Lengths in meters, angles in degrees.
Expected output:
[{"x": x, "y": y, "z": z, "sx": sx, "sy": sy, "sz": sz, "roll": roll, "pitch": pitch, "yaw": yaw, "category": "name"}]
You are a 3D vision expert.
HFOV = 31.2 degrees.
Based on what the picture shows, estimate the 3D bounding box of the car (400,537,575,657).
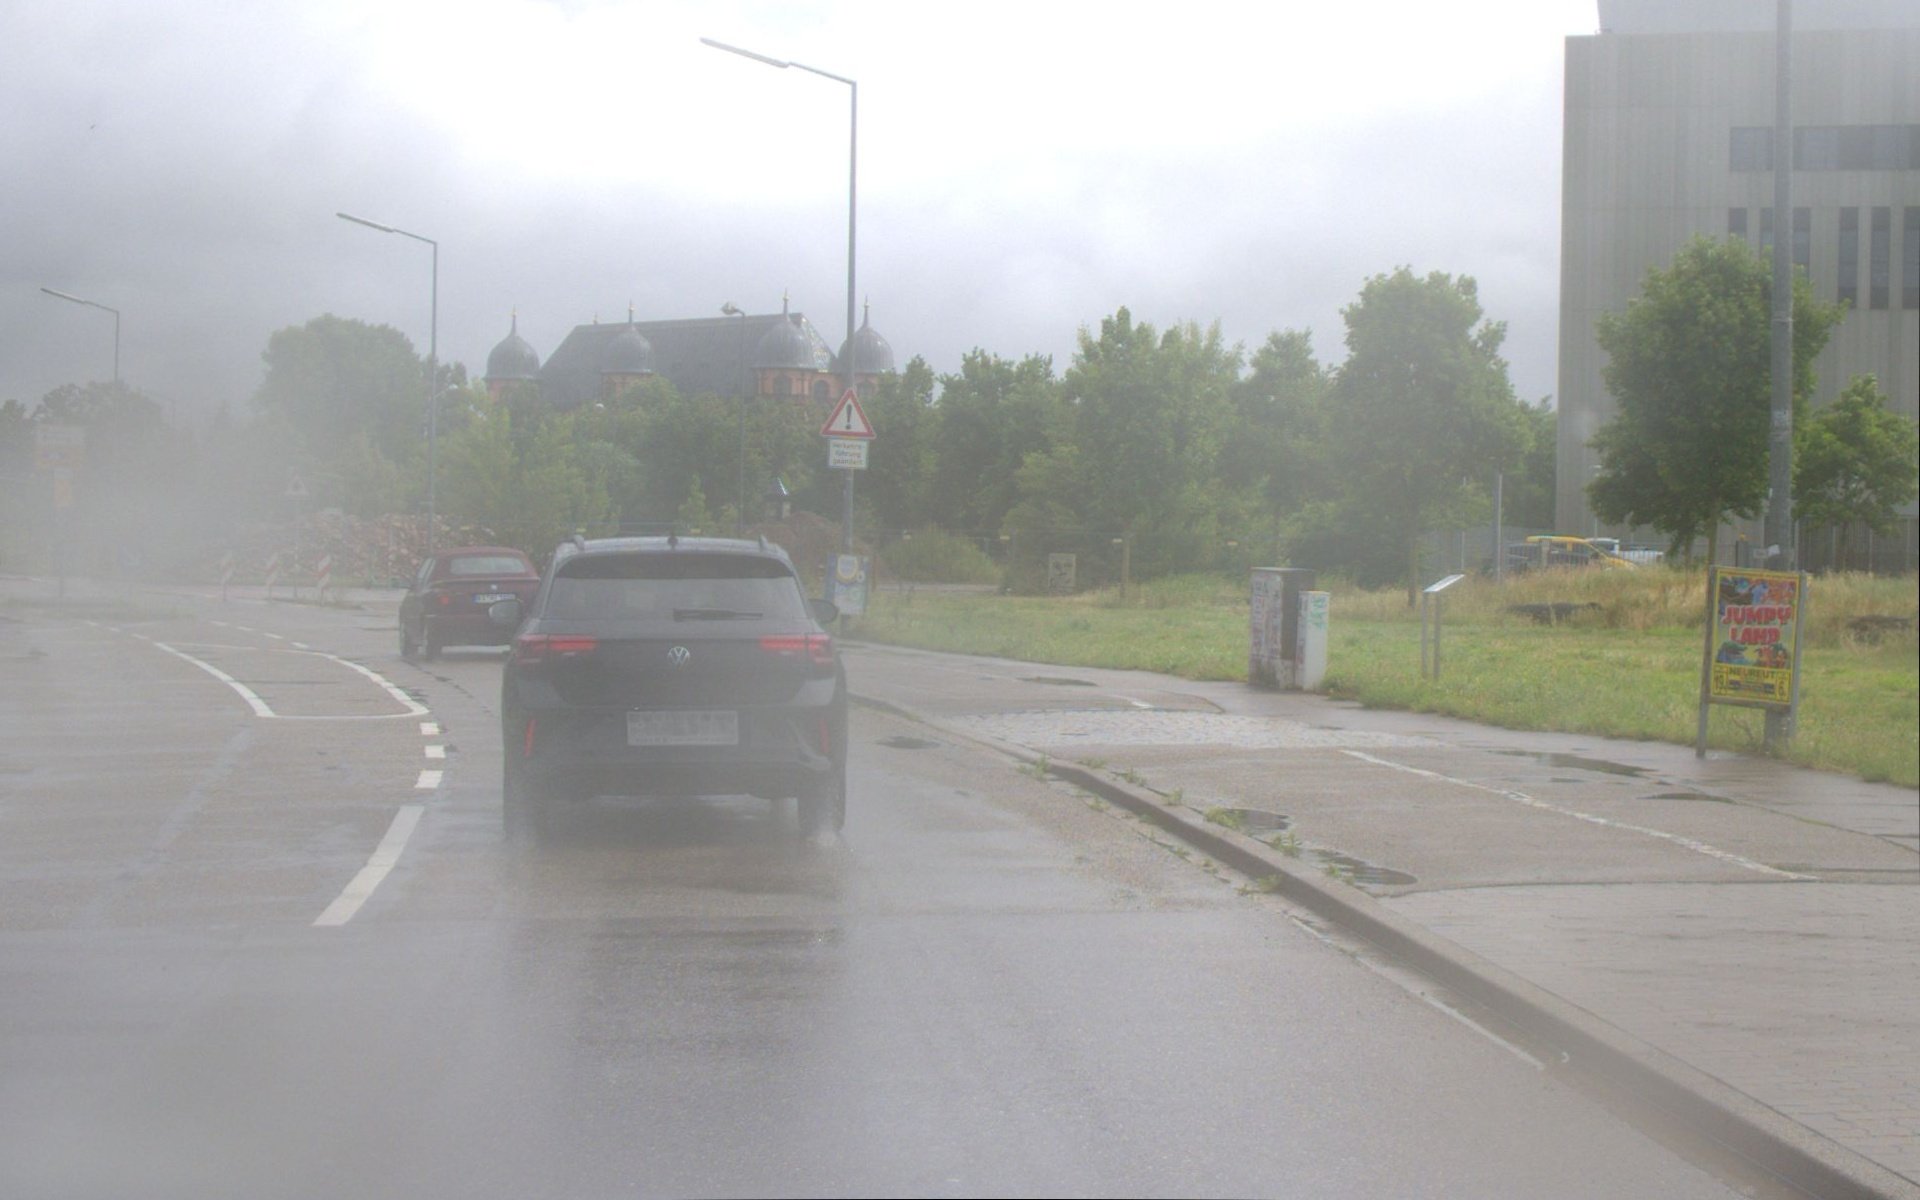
[{"x": -6.173, "y": -0.059, "z": 44.628, "sx": 1.841, "sy": 1.437, "sz": 4.001, "roll": -2, "pitch": 1, "yaw": -13, "category": "car"}]

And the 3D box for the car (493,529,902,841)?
[{"x": -1.557, "y": 0.375, "z": 18.961, "sx": 1.986, "sy": 1.515, "sz": 4.001, "roll": 0, "pitch": 1, "yaw": -8, "category": "car"}]
